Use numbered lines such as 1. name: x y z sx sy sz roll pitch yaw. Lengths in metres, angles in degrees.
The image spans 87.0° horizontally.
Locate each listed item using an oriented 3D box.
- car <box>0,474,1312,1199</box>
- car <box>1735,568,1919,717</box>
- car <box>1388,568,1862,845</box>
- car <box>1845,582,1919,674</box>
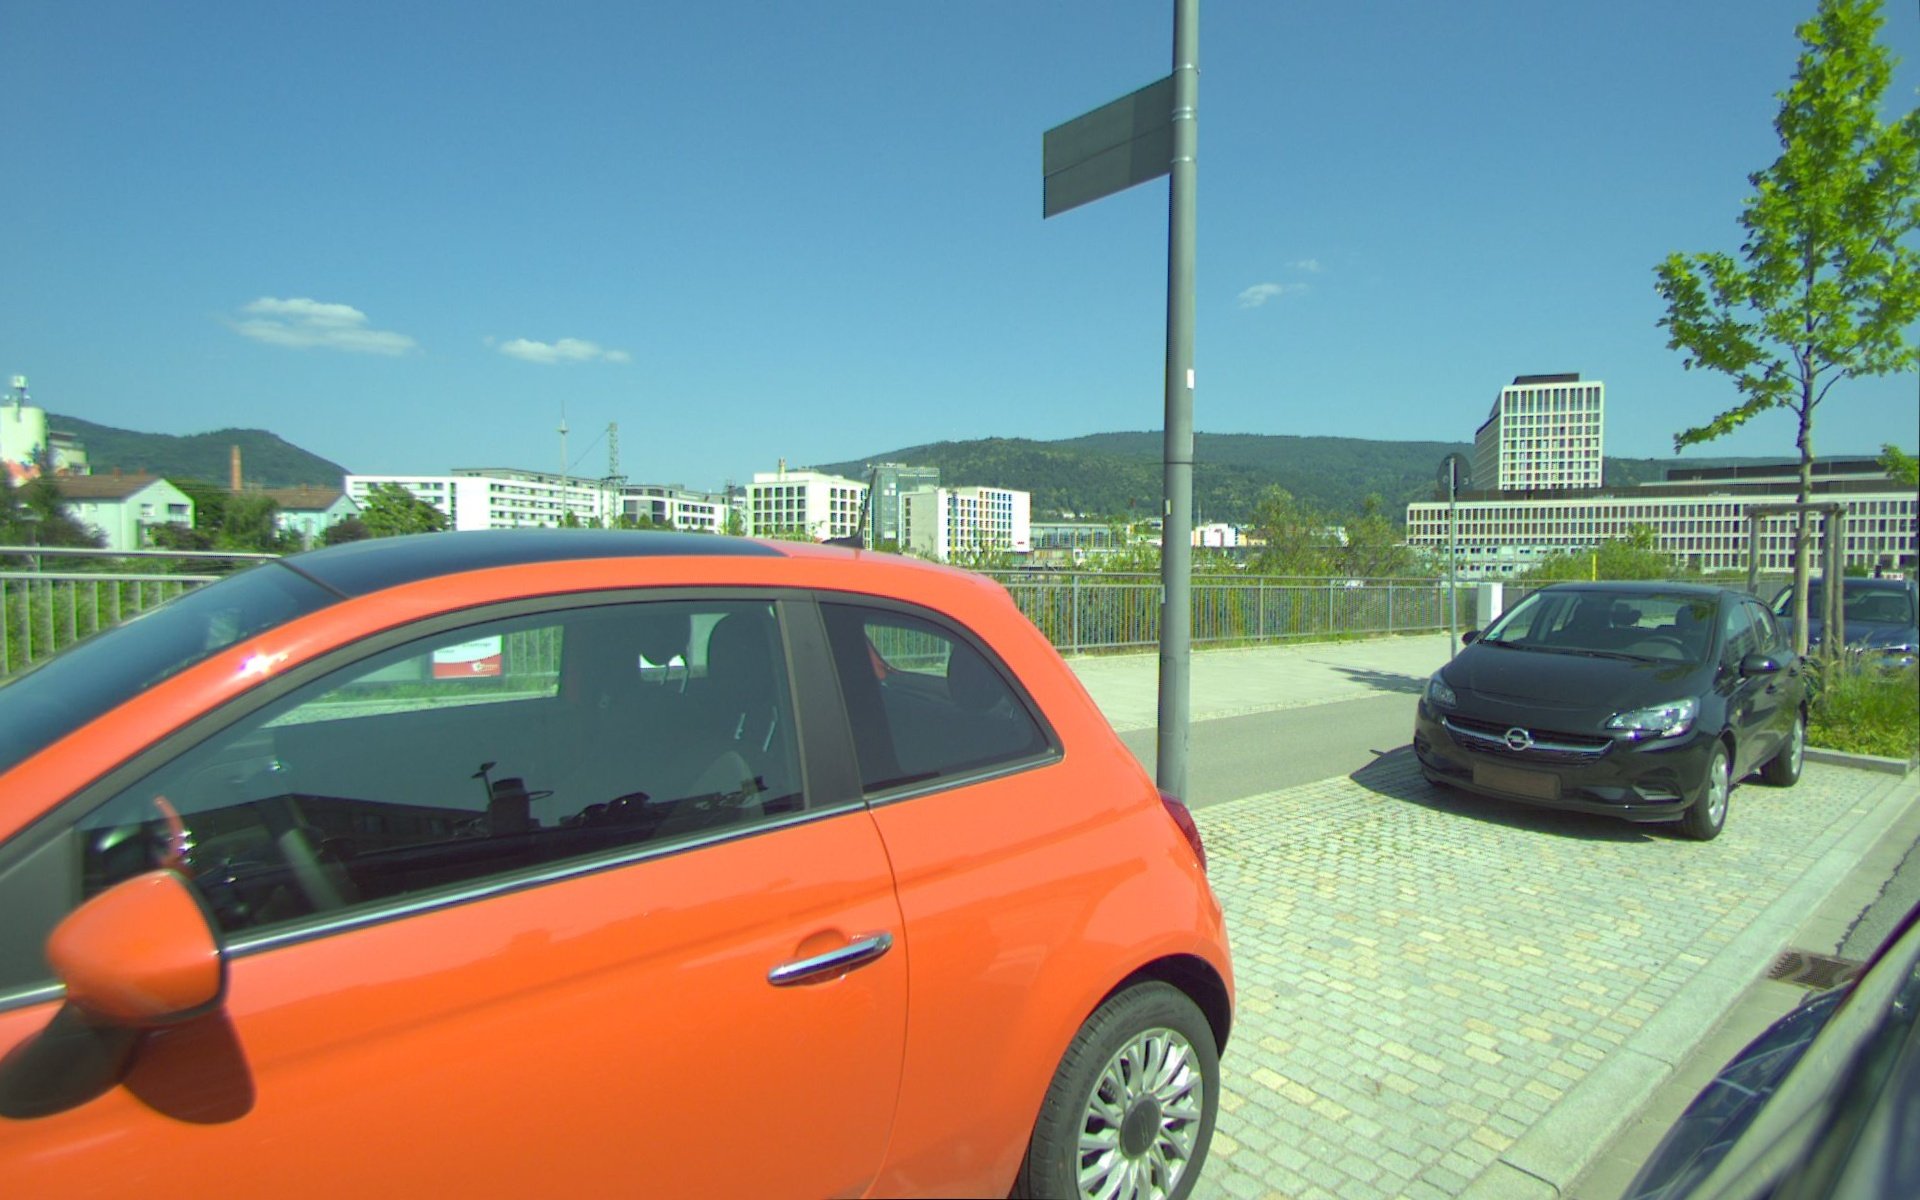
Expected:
1. car: -0.976 0.584 2.006 3.291 1.514 1.615 0 3 -39
2. car: 11.641 0.428 13.048 4.163 1.627 1.768 -1 1 -40
3. car: 4.825 0.504 7.146 3.928 1.444 1.664 -1 2 -39
4. car: 16.939 0.424 17.674 3.929 1.473 1.663 -1 1 -40
